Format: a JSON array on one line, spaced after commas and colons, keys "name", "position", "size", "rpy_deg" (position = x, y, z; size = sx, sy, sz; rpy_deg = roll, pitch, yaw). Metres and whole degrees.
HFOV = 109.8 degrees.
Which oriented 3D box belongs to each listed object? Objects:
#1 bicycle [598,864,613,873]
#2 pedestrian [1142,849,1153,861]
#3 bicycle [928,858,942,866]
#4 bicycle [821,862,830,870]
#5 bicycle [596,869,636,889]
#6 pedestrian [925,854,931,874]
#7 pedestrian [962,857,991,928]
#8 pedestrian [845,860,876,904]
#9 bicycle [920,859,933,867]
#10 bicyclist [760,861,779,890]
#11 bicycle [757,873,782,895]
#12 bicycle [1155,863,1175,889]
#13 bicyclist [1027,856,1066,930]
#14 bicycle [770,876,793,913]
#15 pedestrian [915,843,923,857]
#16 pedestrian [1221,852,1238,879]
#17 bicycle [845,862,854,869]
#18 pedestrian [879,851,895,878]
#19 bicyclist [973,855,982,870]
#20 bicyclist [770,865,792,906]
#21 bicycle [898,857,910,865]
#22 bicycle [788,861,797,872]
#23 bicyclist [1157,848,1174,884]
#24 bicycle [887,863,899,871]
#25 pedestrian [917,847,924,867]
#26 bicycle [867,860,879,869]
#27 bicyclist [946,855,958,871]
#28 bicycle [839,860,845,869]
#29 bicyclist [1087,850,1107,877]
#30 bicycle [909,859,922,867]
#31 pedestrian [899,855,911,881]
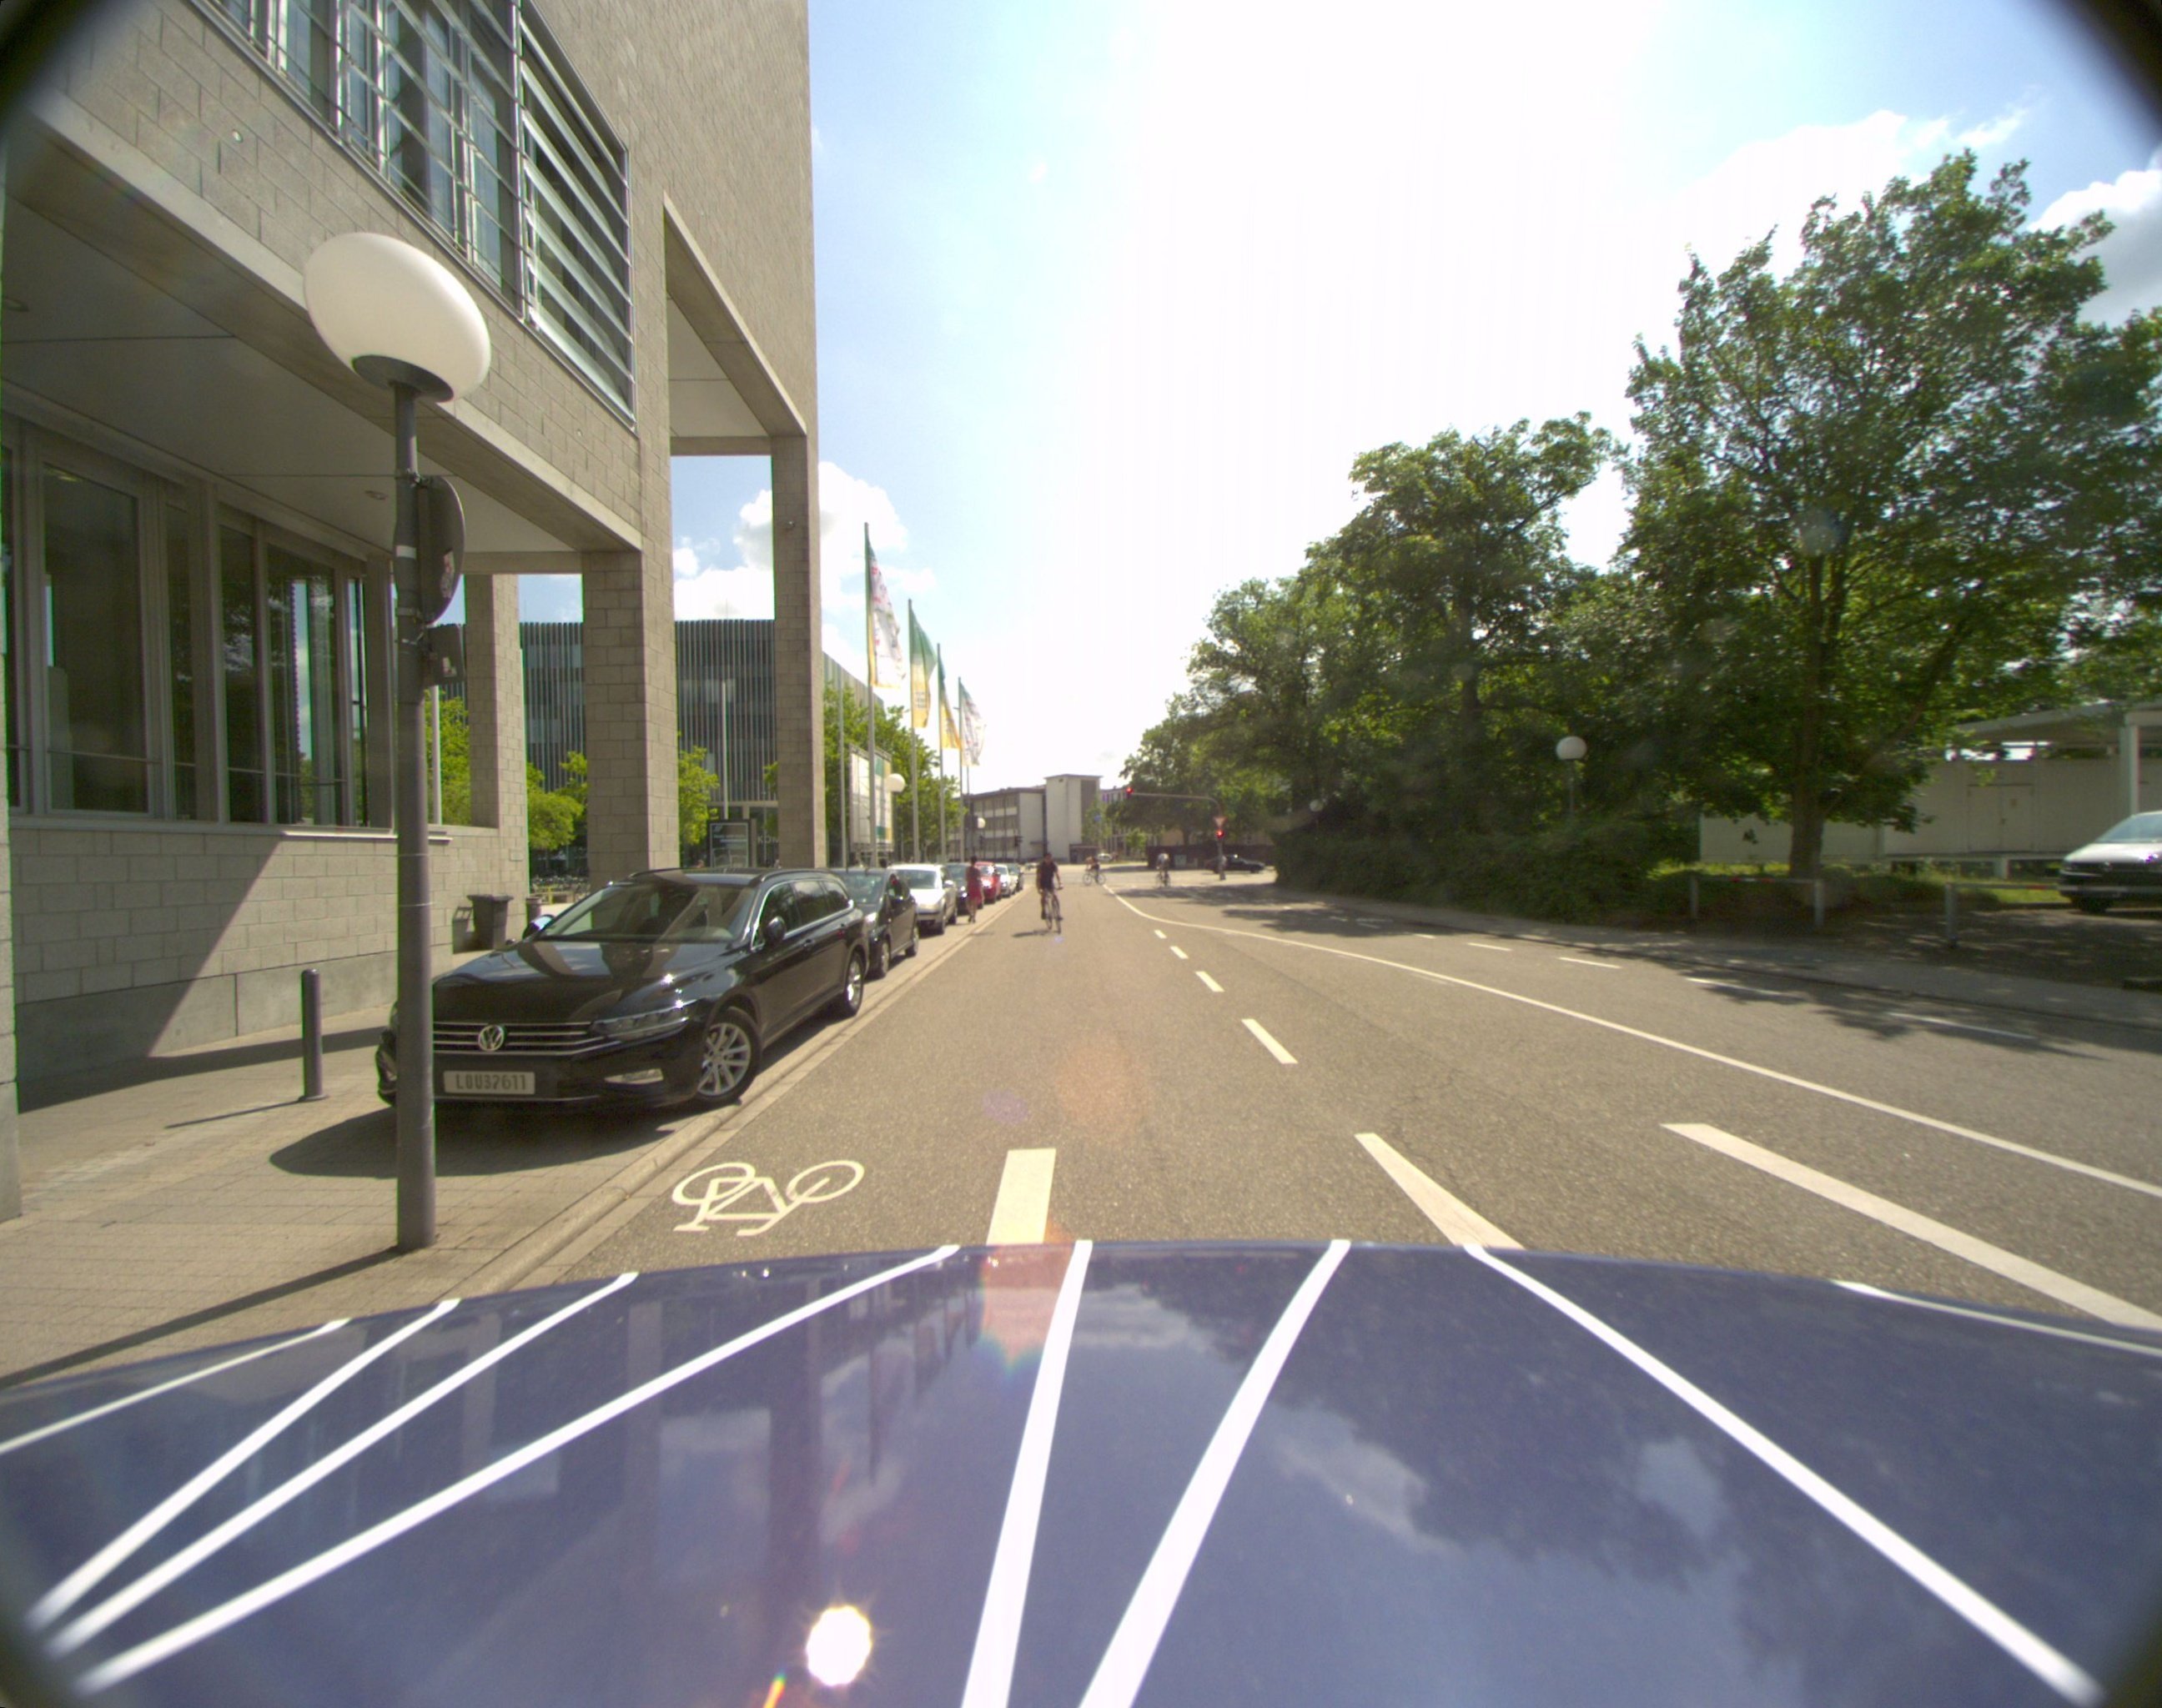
[{"name": "bicycle", "position": [-52.732, 1.575, 84.325], "size": [0.373, 0.950, 1.547], "rpy_deg": [0, 2, 14]}, {"name": "pedestrian", "position": [9.436, 0.165, 107.785], "size": [1.297, 1.641, 1.327], "rpy_deg": [-1, 1, 12]}, {"name": "bicycle", "position": [-16.423, 0.878, 85.452], "size": [1.768, 0.950, 0.530], "rpy_deg": [0, 2, 37]}, {"name": "bicycle", "position": [-29.159, 1.365, 86.753], "size": [0.374, 0.950, 1.768], "rpy_deg": [-2, 2, -39]}, {"name": "bicycle", "position": [-28.408, 1.518, 46.473], "size": [2.028, 1.176, 0.800], "rpy_deg": [-1, 2, 10]}, {"name": "pedestrian", "position": [-14.556, 0.953, 72.282], "size": [0.576, 1.831, 0.415], "rpy_deg": [-1, 2, -15]}, {"name": "pedestrian", "position": [-2.583, 0.935, 18.862], "size": [0.624, 1.707, 1.040], "rpy_deg": [-1, 1, -5]}, {"name": "pedestrian", "position": [-8.901, 1.128, 30.731], "size": [0.920, 1.730, 1.001], "rpy_deg": [-1, 1, -1]}, {"name": "bicycle", "position": [-19.168, 1.079, 93.997], "size": [1.768, 0.950, 0.530], "rpy_deg": [0, 2, 37]}, {"name": "bicyclist", "position": [-16.995, 1.190, 41.447], "size": [0.682, 1.559, 0.879], "rpy_deg": [-1, -1, -1]}, {"name": "bicycle", "position": [-16.986, 1.613, 41.498], "size": [0.682, 1.131, 1.692], "rpy_deg": [-1, -1, -1]}, {"name": "bicycle", "position": [4.167, 1.072, 37.843], "size": [0.694, 1.164, 2.209], "rpy_deg": [-1, 1, -2]}, {"name": "bicyclist", "position": [-0.759, 0.830, 16.590], "size": [0.663, 1.555, 0.932], "rpy_deg": [-1, 0, -13]}, {"name": "bicycle", "position": [-9.687, 1.287, 24.570], "size": [0.608, 1.131, 1.585], "rpy_deg": [-1, -1, -25]}, {"name": "pedestrian", "position": [-20.915, -0.507, 98.061], "size": [0.677, 1.779, 0.844], "rpy_deg": [-1, 1, 4]}, {"name": "pedestrian", "position": [9.627, 0.761, 49.369], "size": [0.930, 1.690, 0.854], "rpy_deg": [-1, 0, 2]}, {"name": "bicycle", "position": [-26.870, 1.312, 88.036], "size": [0.530, 0.760, 1.769], "rpy_deg": [-2, 1, -33]}, {"name": "pedestrian", "position": [-13.524, 0.762, 53.003], "size": [0.856, 1.808, 1.176], "rpy_deg": [2, -3, -6]}, {"name": "bicyclist", "position": [-10.325, 0.830, 75.785], "size": [0.787, 1.529, 0.656], "rpy_deg": [-2, 1, -25]}, {"name": "bicyclist", "position": [-9.702, 1.011, 24.585], "size": [0.608, 1.312, 0.741], "rpy_deg": [-1, -1, -25]}, {"name": "bicycle", "position": [-21.439, 0.800, 91.840], "size": [1.768, 0.950, 0.530], "rpy_deg": [0, 2, 43]}, {"name": "bicycle", "position": [-31.939, 1.369, 84.146], "size": [0.373, 1.180, 1.545], "rpy_deg": [0, 2, -2]}, {"name": "bicyclist", "position": [4.202, 0.582, 37.712], "size": [0.694, 1.727, 0.918], "rpy_deg": [-1, 1, -2]}, {"name": "bicycle", "position": [-22.501, 1.526, 90.787], "size": [1.768, 0.950, 0.530], "rpy_deg": [0, 2, 43]}, {"name": "pedestrian", "position": [-15.246, 0.286, 72.082], "size": [0.633, 1.831, 0.479], "rpy_deg": [-1, 2, -15]}, {"name": "bicycle", "position": [-24.648, 1.208, 89.996], "size": [0.530, 0.950, 1.768], "rpy_deg": [-6, 5, -44]}, {"name": "bicyclist", "position": [-12.703, 0.876, 74.782], "size": [1.001, 1.606, 0.656], "rpy_deg": [-2, 1, -29]}, {"name": "bicycle", "position": [-27.602, 1.176, 87.665], "size": [0.529, 0.950, 1.770], "rpy_deg": [-1, 2, -20]}, {"name": "bicyclist", "position": [0.915, 0.555, 44.399], "size": [0.696, 1.539, 1.016], "rpy_deg": [-1, 1, -33]}, {"name": "bicycle", "position": [-20.305, 1.125, 93.129], "size": [1.768, 0.950, 0.530], "rpy_deg": [0, 2, 37]}, {"name": "pedestrian", "position": [-12.331, 0.971, 53.238], "size": [0.594, 1.789, 0.612], "rpy_deg": [-2, -1, 24]}]
